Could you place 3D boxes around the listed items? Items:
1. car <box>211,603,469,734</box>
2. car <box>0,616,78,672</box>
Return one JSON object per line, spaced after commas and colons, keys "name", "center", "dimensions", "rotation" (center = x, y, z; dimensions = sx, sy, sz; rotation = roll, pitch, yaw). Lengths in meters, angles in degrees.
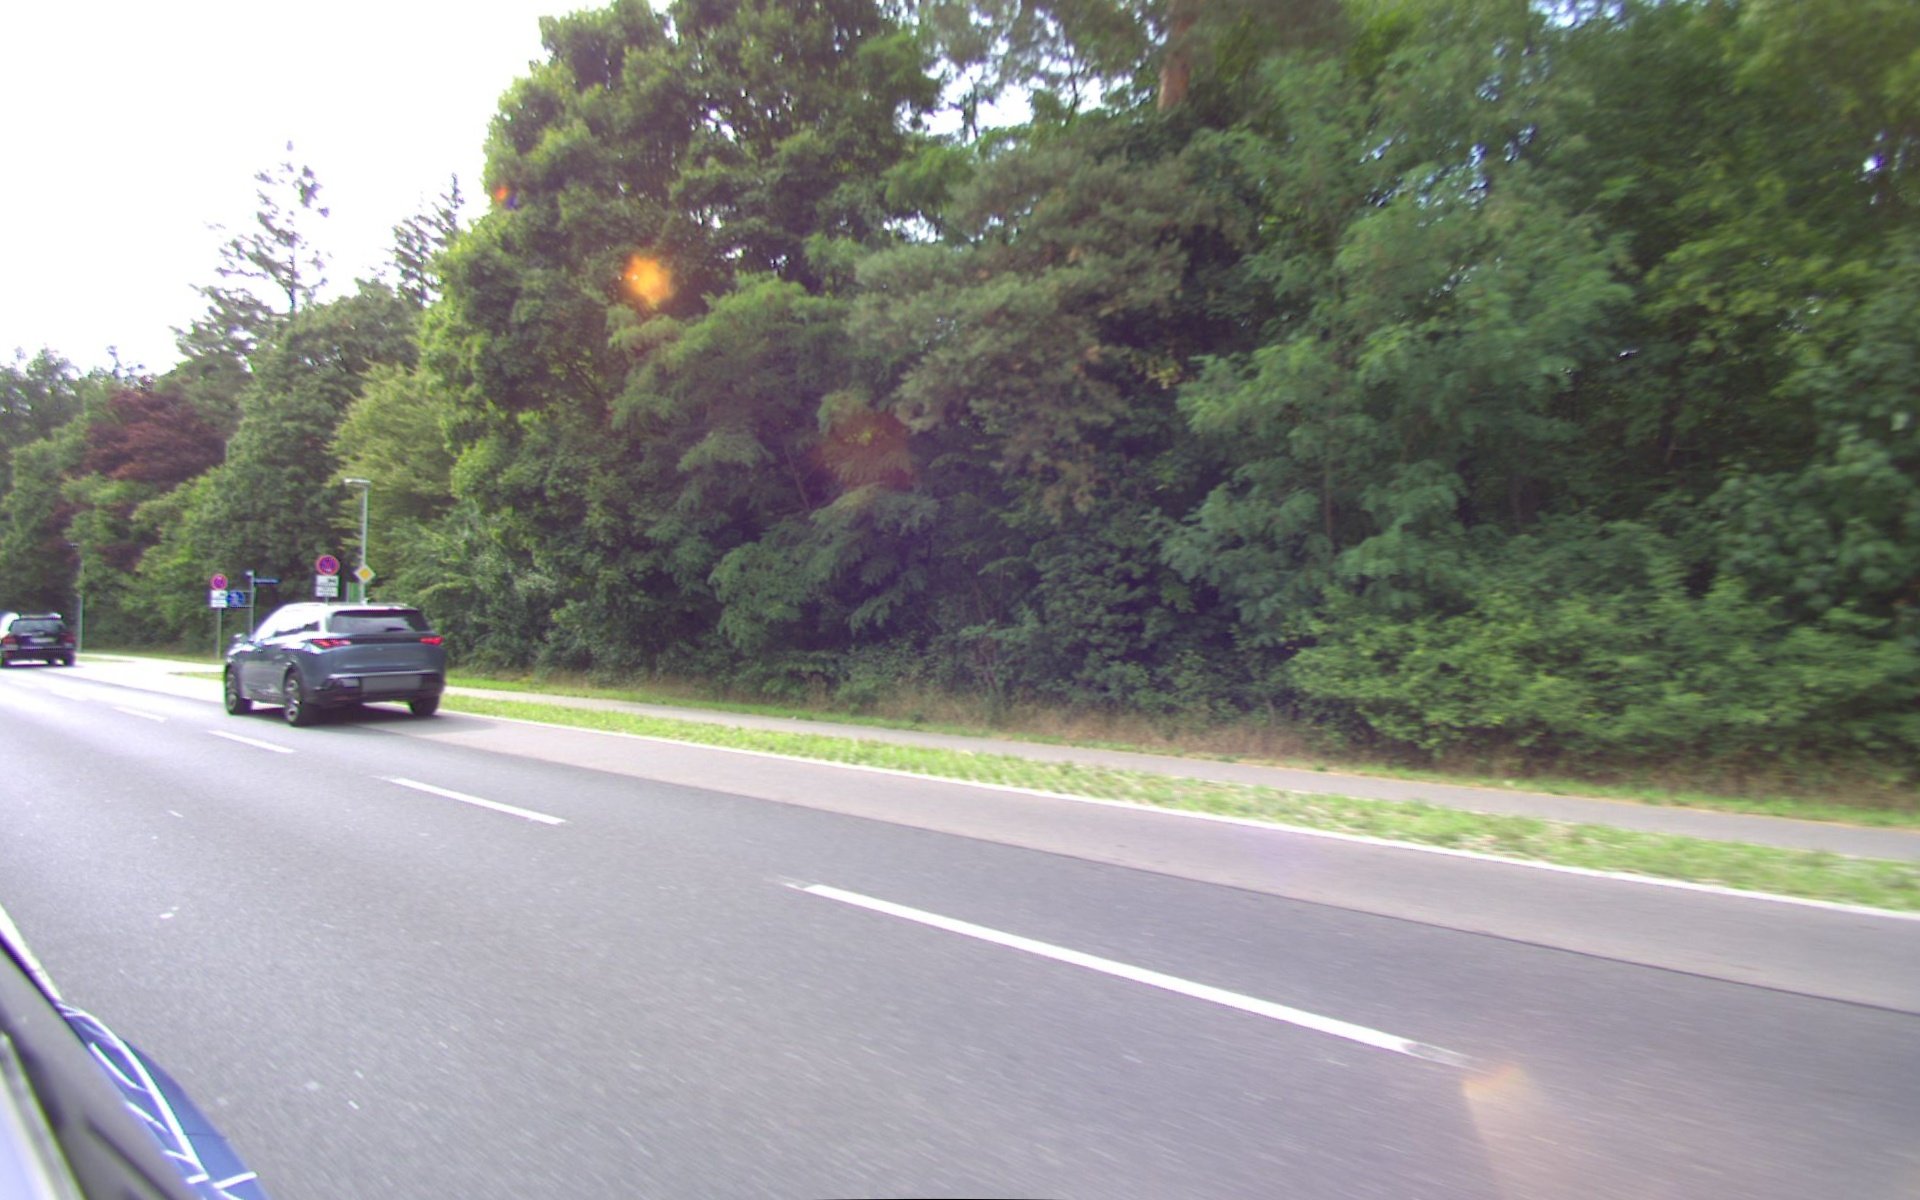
{"name": "car", "center": [-9.417, 0.888, 15.215], "dimensions": [4.661, 1.629, 1.973], "rotation": [0, 1, 41]}
{"name": "car", "center": [-30.030, 1.456, 32.551], "dimensions": [4.466, 1.668, 1.903], "rotation": [-4, -2, 41]}
